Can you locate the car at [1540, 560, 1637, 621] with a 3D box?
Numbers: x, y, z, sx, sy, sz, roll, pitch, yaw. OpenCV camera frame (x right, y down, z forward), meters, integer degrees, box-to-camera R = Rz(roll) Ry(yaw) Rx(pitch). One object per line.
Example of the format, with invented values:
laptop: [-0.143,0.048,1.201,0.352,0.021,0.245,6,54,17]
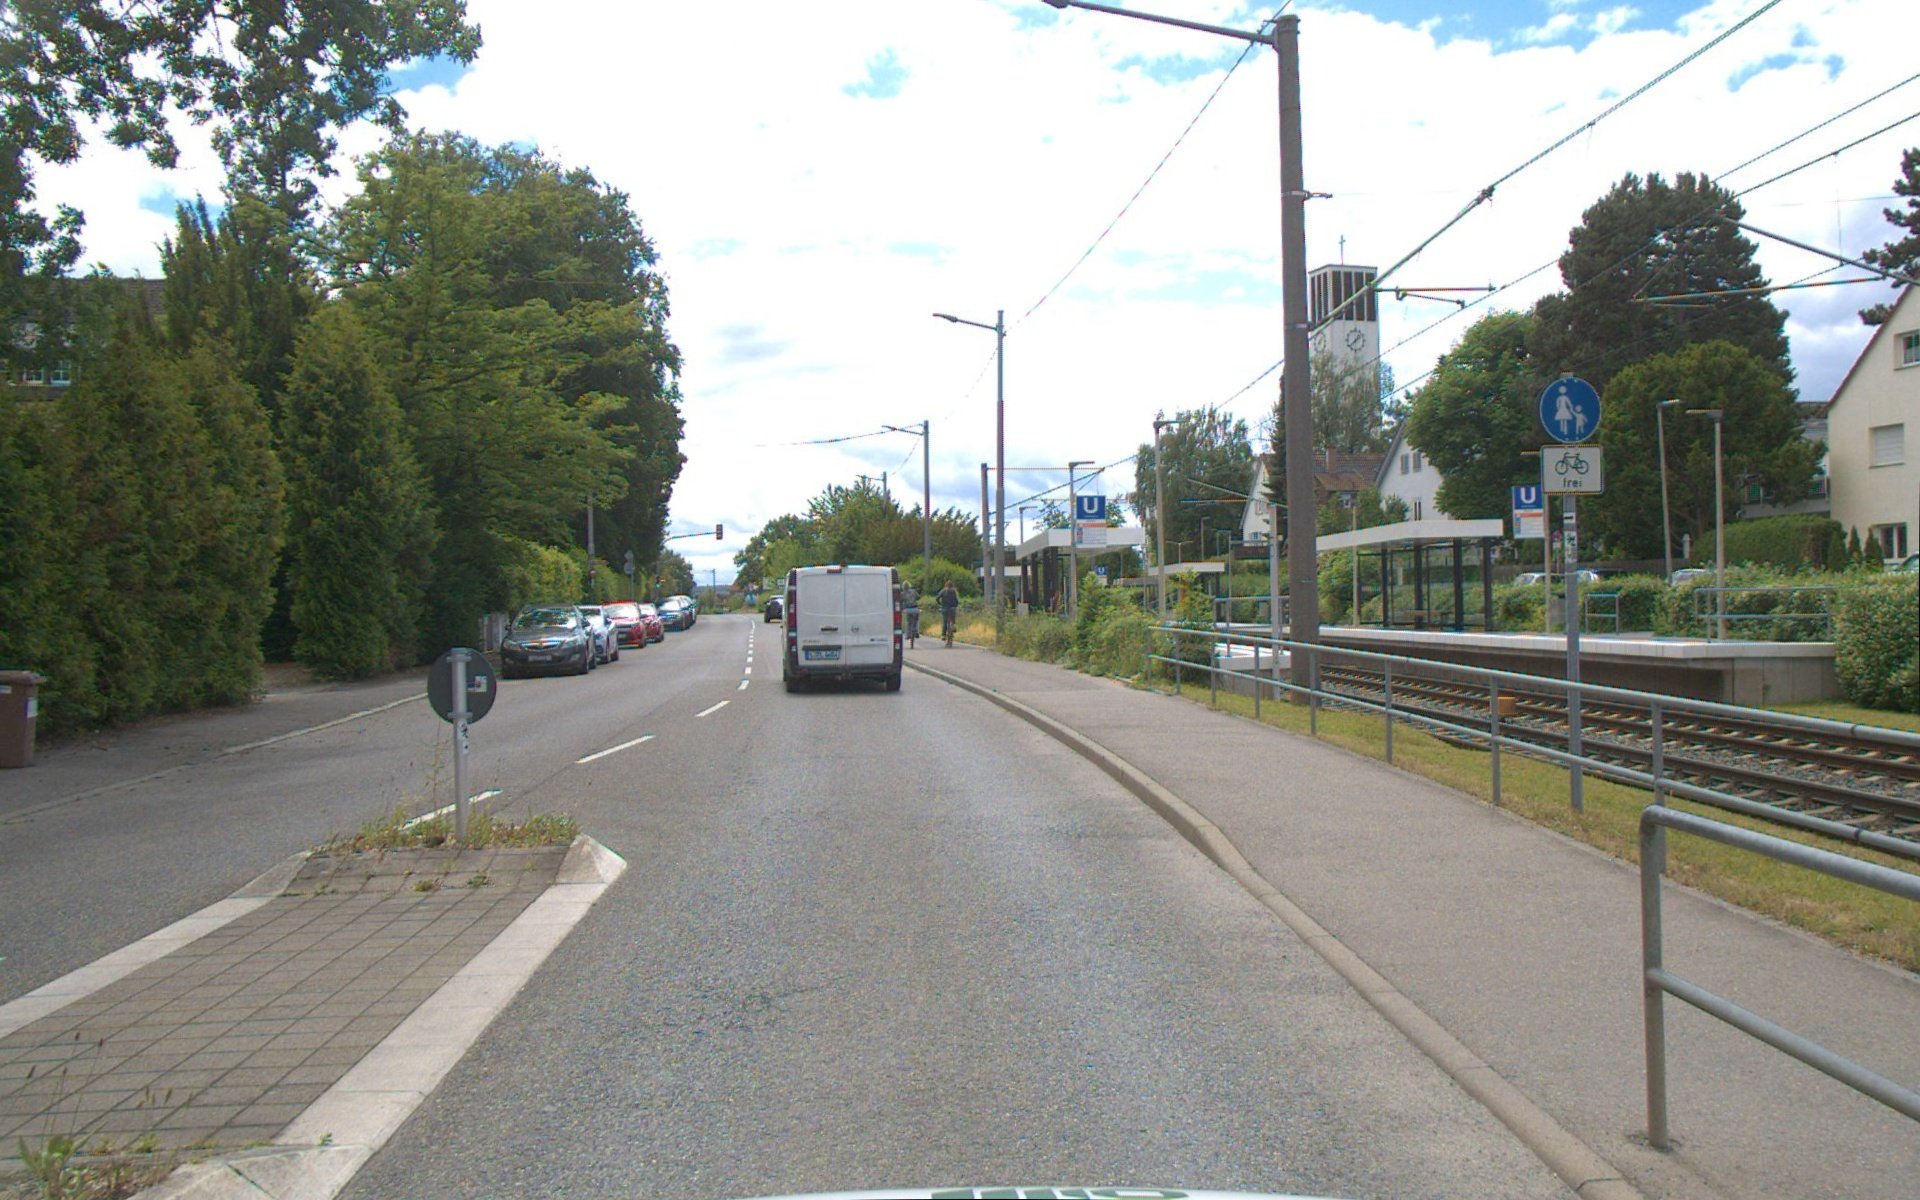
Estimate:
car: [21.073,-0.287,55.614,1.697,1.947,3.933,1,-1,-2]

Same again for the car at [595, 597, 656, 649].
car: [-10.821,0.720,53.703,1.558,1.531,3.510,-2,0,-6]

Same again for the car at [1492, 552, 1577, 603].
car: [20.997,-0.801,60.560,1.697,1.782,3.934,0,0,-1]

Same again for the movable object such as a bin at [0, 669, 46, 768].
movable object such as a bin: [-9.373,1.171,16.377,0.455,0.946,0.428,3,-1,-19]

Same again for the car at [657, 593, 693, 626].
car: [-15.132,0.480,87.953,1.729,1.685,4.053,-2,1,-8]

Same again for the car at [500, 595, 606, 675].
car: [-8.734,0.710,35.775,1.704,1.531,4.469,-3,1,-8]

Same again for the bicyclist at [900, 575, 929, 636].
bicyclist: [-1.234,0.144,44.946,0.704,1.640,0.756,-1,0,-8]

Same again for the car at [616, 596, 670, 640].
car: [-11.608,0.633,60.725,1.729,1.496,4.177,-2,1,-8]

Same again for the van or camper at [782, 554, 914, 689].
van or camper: [-1.933,0.343,27.398,1.955,2.049,4.439,0,0,-7]

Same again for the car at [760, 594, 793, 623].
car: [-11.070,0.507,99.839,1.816,1.677,3.731,-1,0,-5]

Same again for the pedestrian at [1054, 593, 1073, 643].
pedestrian: [2.817,0.487,45.134,0.387,1.367,0.487,0,0,21]

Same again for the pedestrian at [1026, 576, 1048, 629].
pedestrian: [2.578,0.079,55.492,0.624,1.755,0.655,0,0,12]

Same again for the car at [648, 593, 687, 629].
car: [-14.424,0.516,81.721,1.729,1.654,4.177,-2,1,-8]

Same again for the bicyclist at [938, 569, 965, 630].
bicyclist: [-0.238,-0.021,45.997,0.627,1.678,0.817,-1,0,-8]

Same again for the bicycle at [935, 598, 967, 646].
bicycle: [-0.258,0.600,46.118,0.606,1.268,2.392,-1,0,-7]

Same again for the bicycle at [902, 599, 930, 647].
bicycle: [-1.209,0.608,44.944,0.536,1.268,2.052,-1,0,-7]

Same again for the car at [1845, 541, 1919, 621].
car: [25.991,-0.588,43.769,4.247,1.977,1.743,-4,1,-8]

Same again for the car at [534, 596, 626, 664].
car: [-9.420,0.706,41.223,1.703,1.531,3.958,-3,1,-6]
